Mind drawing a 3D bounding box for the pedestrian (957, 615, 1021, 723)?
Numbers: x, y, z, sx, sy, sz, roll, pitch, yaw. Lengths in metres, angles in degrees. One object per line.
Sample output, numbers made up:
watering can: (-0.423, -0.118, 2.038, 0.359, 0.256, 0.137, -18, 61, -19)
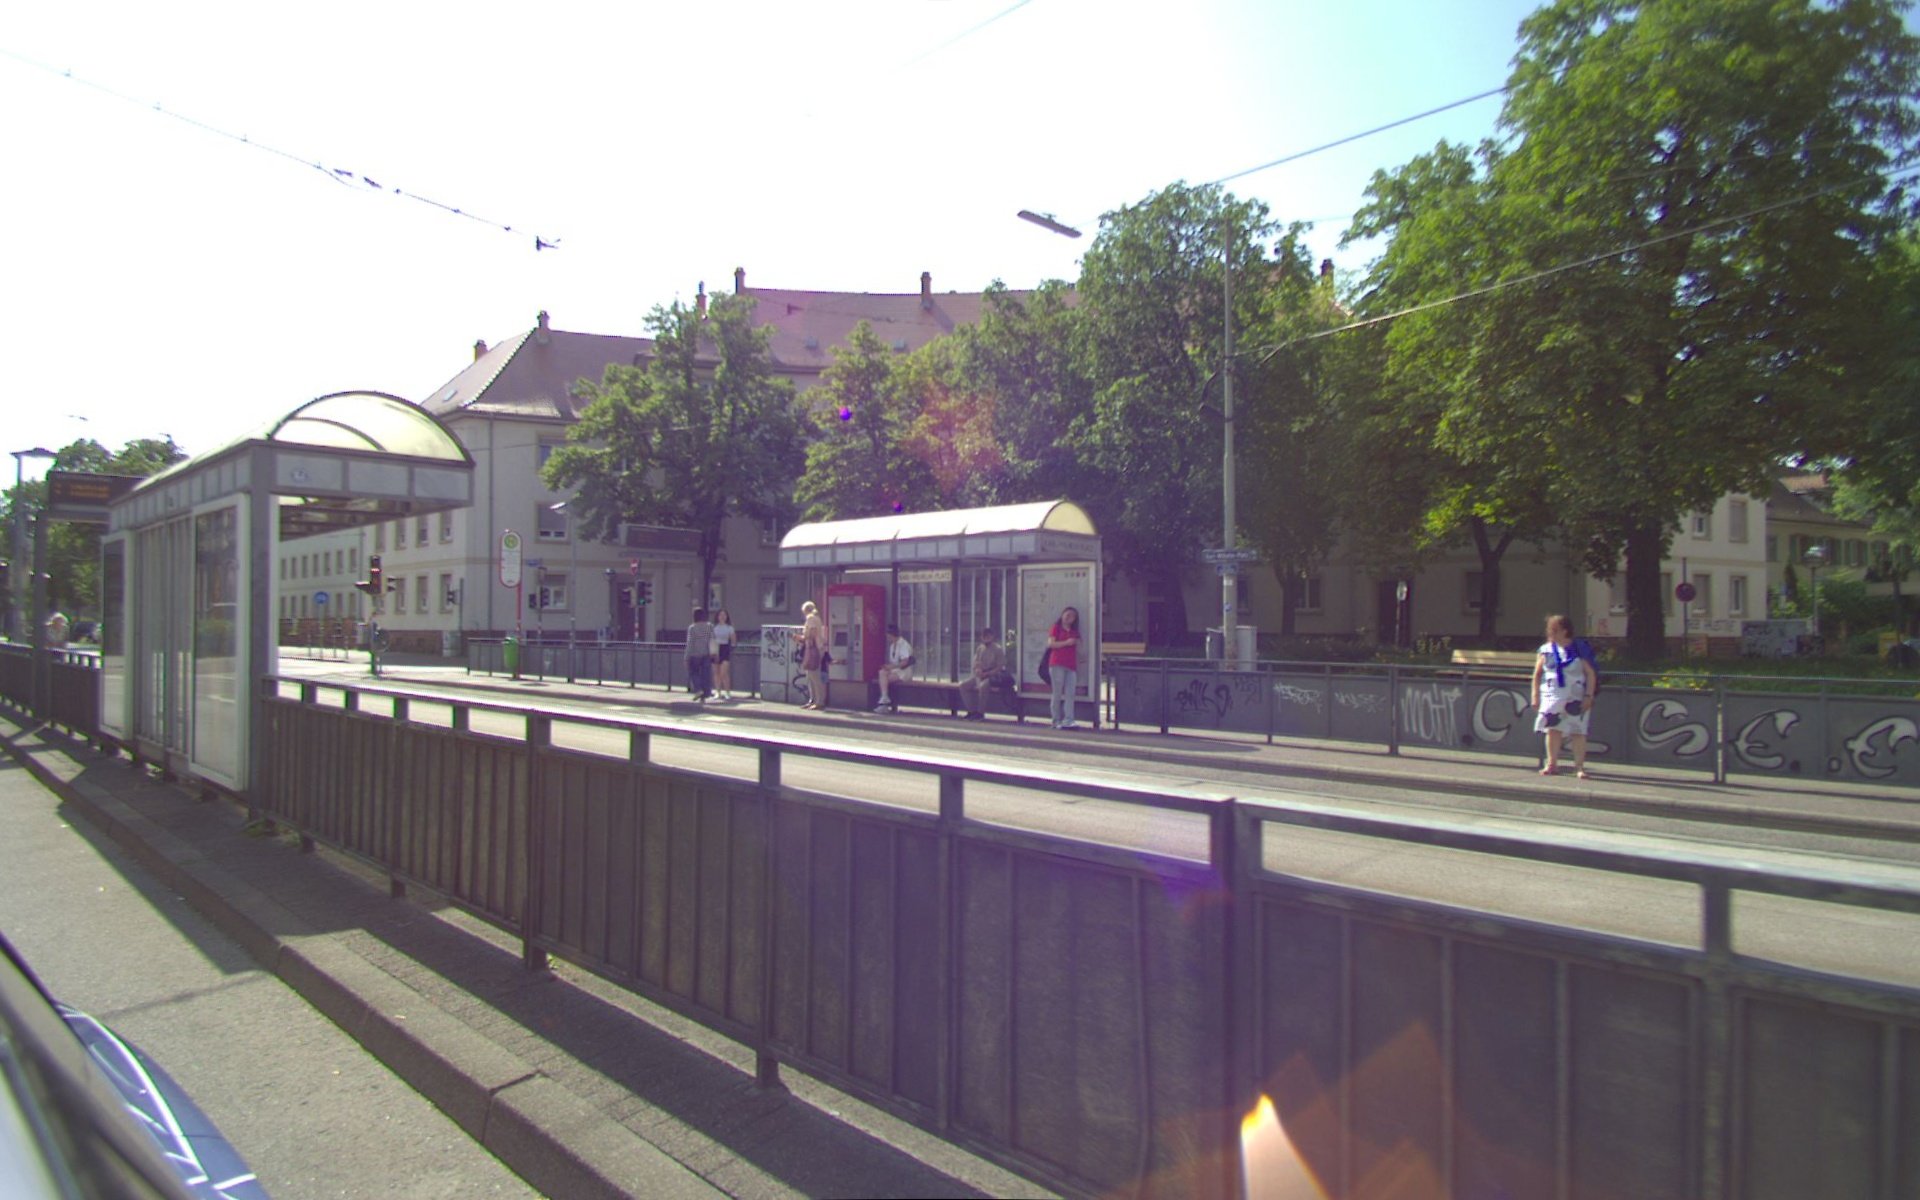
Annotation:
pedestrian: (0.408, 0.965, 14.322, 0.691, 1.468, 0.523, -1, -4, 40)

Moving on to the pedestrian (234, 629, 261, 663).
pedestrian: (-32.139, 2.069, 45.651, 0.805, 1.485, 0.795, -1, -2, 37)

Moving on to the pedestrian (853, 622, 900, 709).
pedestrian: (-1.315, 1.030, 15.957, 0.405, 1.347, 0.598, 0, -4, 36)

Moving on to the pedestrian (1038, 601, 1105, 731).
pedestrian: (1.472, 0.846, 13.348, 0.746, 1.669, 0.467, -1, -1, 41)

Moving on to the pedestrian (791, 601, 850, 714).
pedestrian: (-2.134, 0.868, 15.467, 0.677, 1.682, 0.492, 0, -4, 36)

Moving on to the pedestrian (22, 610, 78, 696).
pedestrian: (-16.778, 0.956, 18.661, 0.557, 1.544, 0.693, -1, 0, 41)

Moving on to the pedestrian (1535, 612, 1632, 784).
pedestrian: (5.742, 0.876, 9.326, 0.703, 1.515, 0.423, -1, -3, 42)

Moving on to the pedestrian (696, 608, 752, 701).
pedestrian: (-4.276, 0.991, 18.354, 0.638, 1.654, 0.648, -1, -5, 41)

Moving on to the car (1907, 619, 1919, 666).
car: (36.555, 1.519, 35.619, 1.966, 1.688, 4.329, 1, -2, -32)

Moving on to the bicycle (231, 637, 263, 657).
bicycle: (-32.178, 2.107, 45.672, 1.616, 0.855, 0.746, -1, -2, 38)

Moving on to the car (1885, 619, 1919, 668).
car: (34.463, 1.480, 34.222, 1.966, 1.688, 4.329, 1, -2, -32)

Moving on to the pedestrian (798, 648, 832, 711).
pedestrian: (-2.235, 1.224, 15.593, 0.345, 0.937, 0.336, 0, -4, 36)

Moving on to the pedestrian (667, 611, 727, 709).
pedestrian: (-4.467, 1.008, 17.202, 0.637, 1.619, 0.650, 0, -4, 36)
